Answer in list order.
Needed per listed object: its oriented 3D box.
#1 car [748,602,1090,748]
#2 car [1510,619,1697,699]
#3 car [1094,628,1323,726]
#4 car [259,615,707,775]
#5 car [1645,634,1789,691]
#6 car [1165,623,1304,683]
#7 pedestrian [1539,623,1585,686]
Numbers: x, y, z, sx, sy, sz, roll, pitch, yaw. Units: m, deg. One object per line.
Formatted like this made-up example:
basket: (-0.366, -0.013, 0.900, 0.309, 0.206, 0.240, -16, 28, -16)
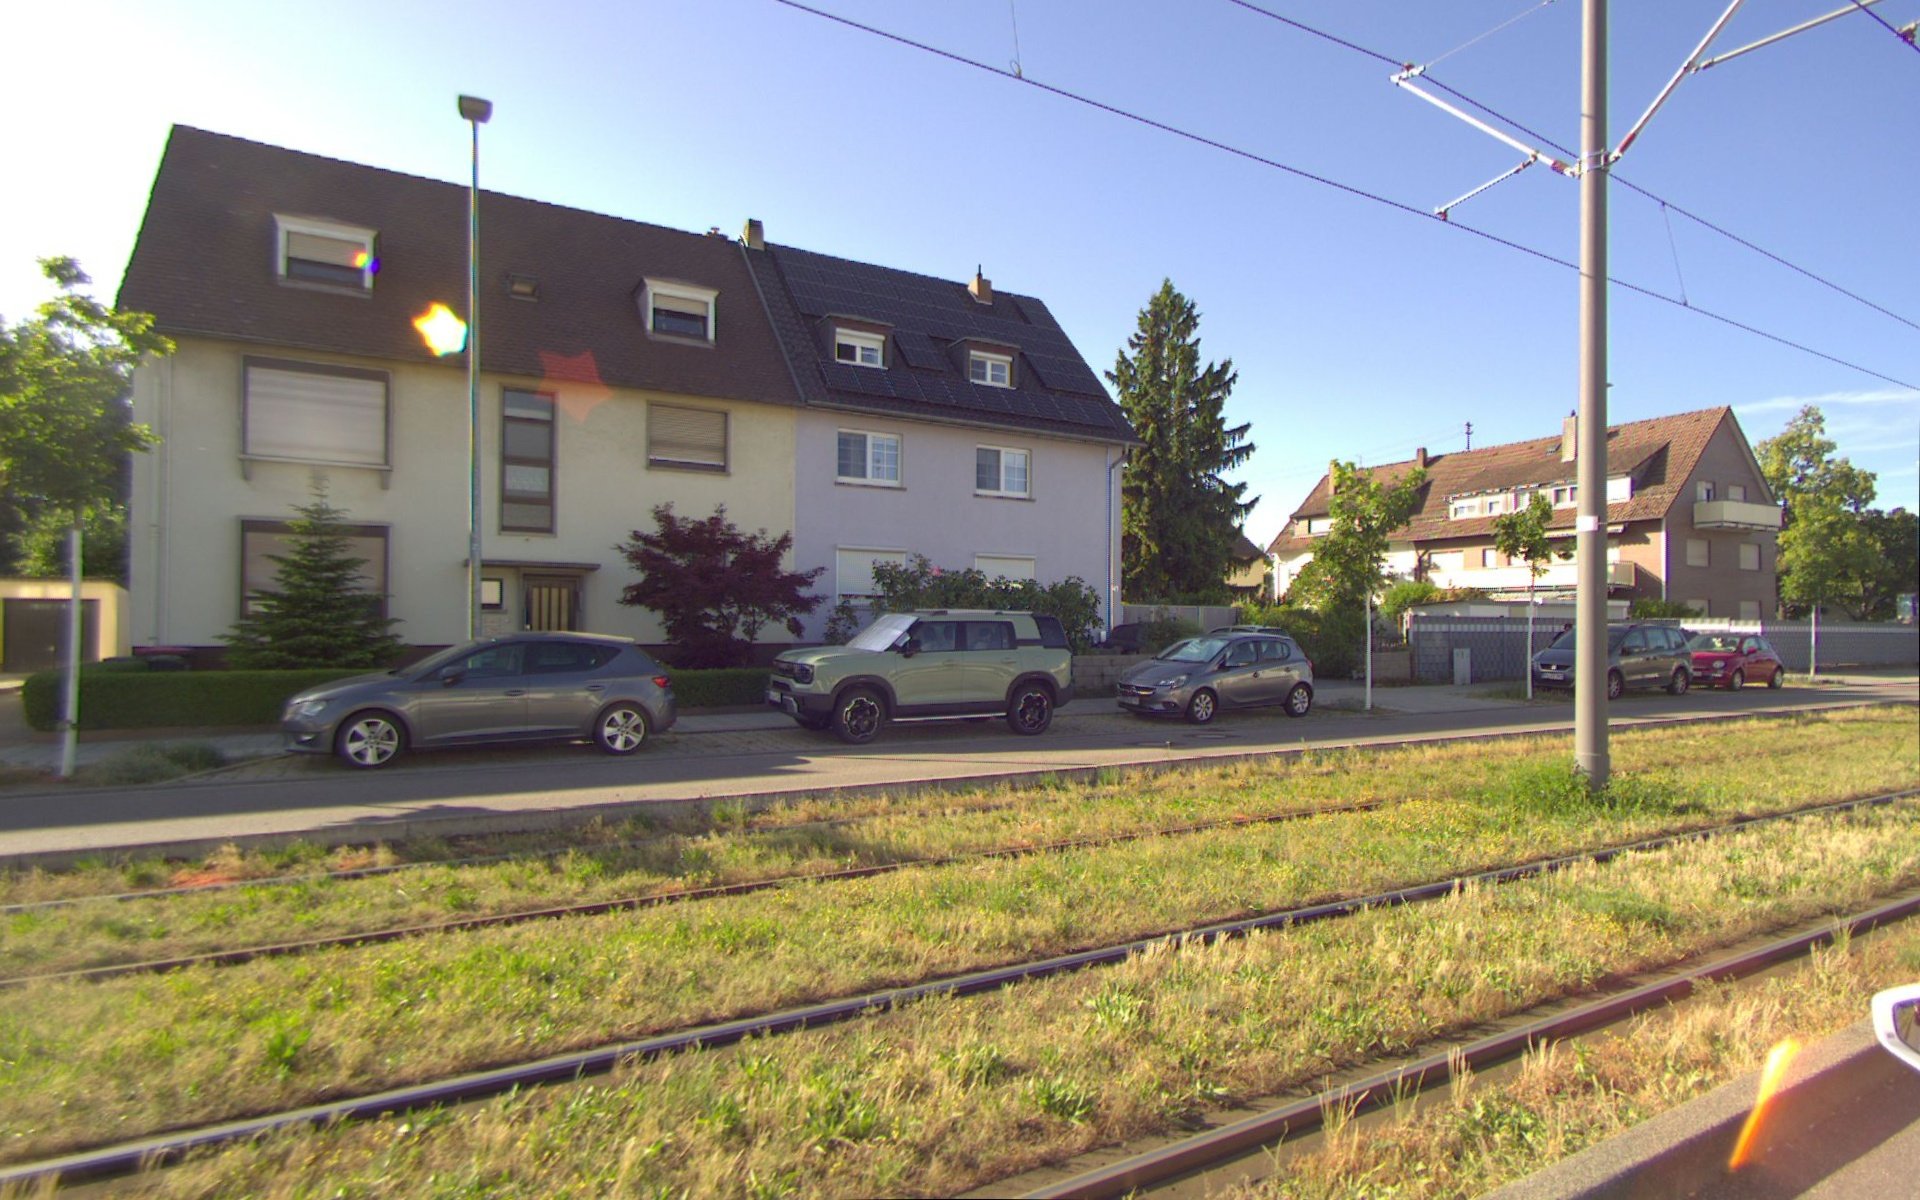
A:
car: (-0.526, 1.007, 14.814, 4.784, 1.847, 1.737, 1, 0, -30)
car: (15.603, 1.370, 24.290, 4.788, 1.707, 1.811, 1, 0, -30)
car: (4.488, 1.301, 17.954, 4.006, 1.510, 1.667, 1, 0, -33)
car: (-5.551, 1.018, 12.058, 4.504, 1.561, 1.951, 2, 0, -31)
car: (20.643, 1.655, 27.359, 4.030, 1.423, 1.688, 1, -2, -30)
car: (7.440, 1.400, 27.517, 1.684, 1.493, 3.598, 1, -1, -28)
pedestrian: (16.266, 1.455, 27.136, 0.910, 1.662, 0.692, 1, 0, -32)
